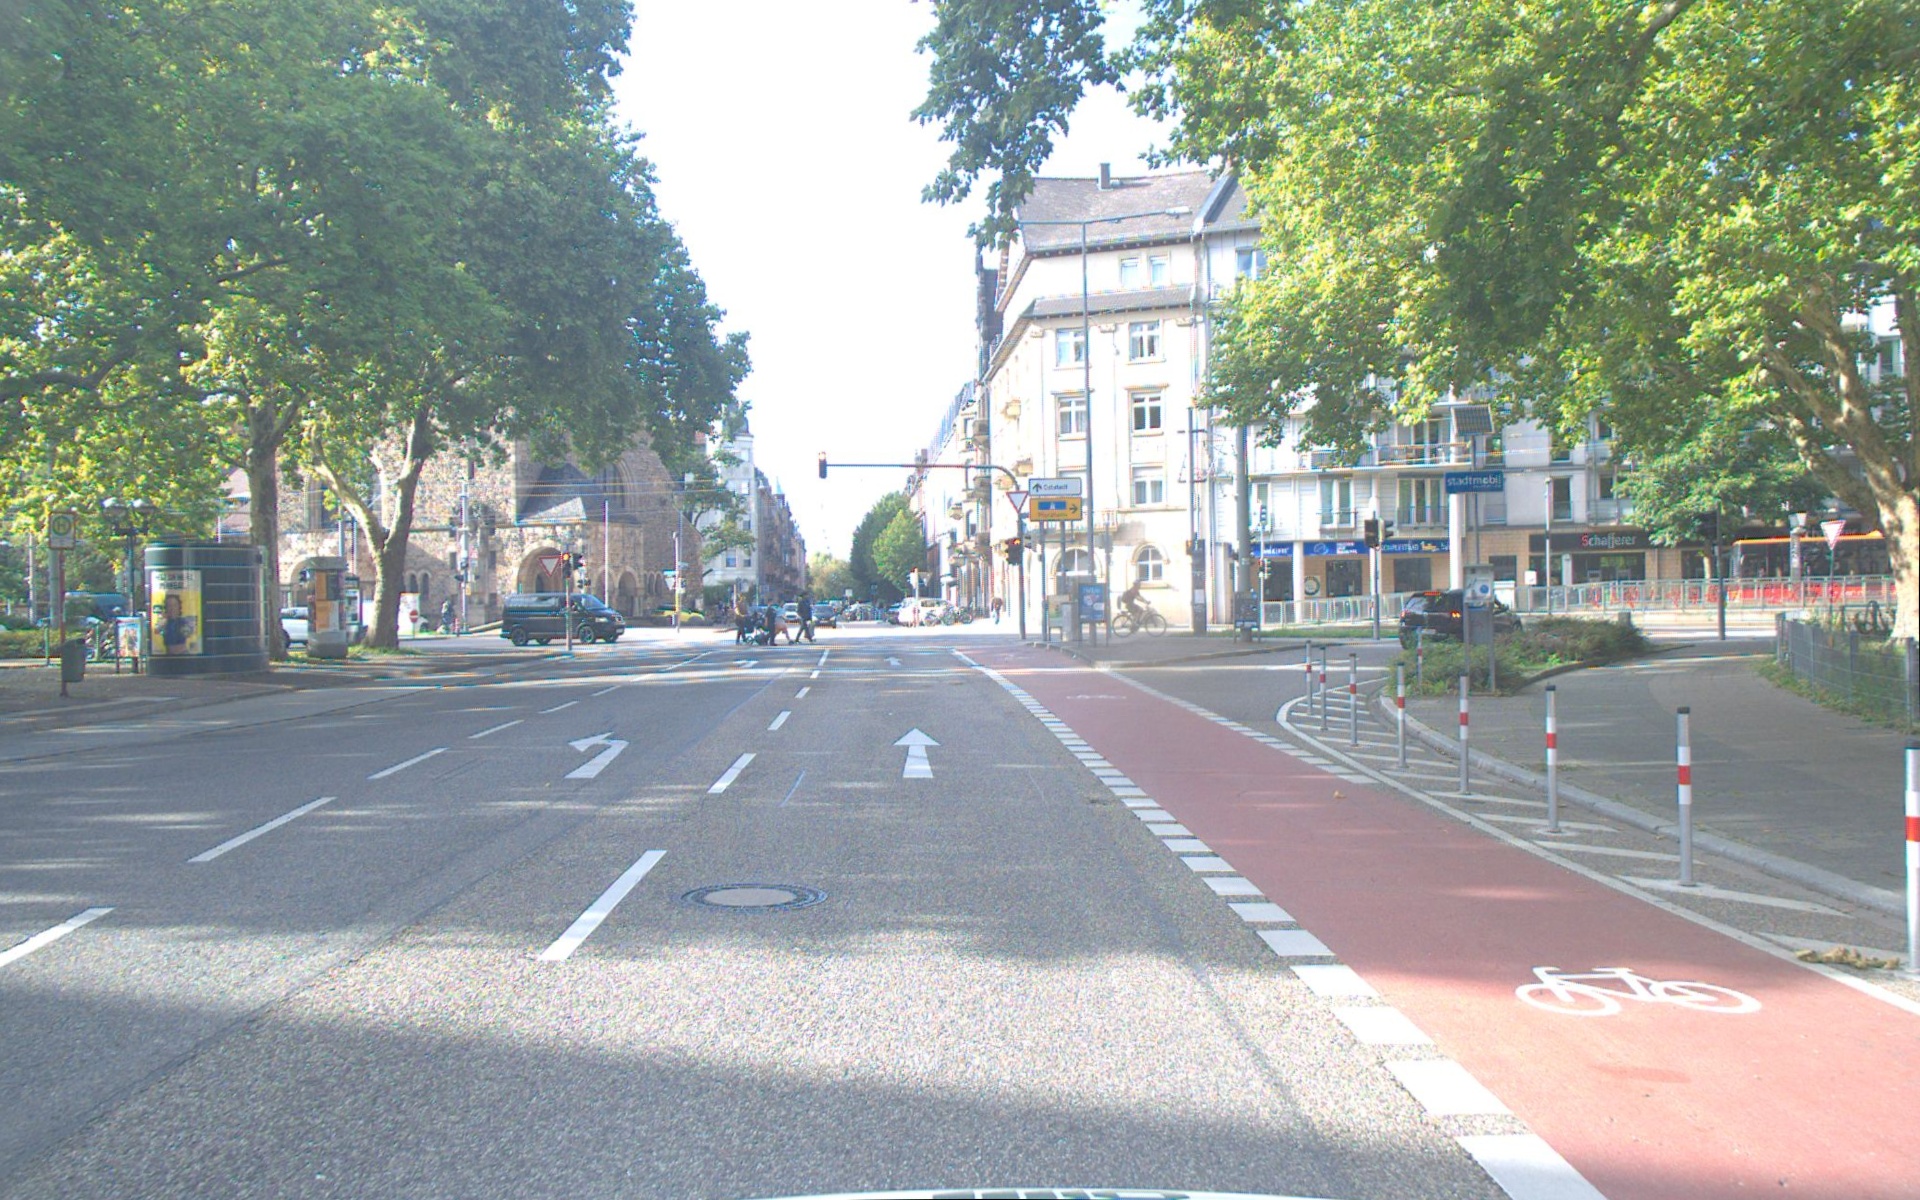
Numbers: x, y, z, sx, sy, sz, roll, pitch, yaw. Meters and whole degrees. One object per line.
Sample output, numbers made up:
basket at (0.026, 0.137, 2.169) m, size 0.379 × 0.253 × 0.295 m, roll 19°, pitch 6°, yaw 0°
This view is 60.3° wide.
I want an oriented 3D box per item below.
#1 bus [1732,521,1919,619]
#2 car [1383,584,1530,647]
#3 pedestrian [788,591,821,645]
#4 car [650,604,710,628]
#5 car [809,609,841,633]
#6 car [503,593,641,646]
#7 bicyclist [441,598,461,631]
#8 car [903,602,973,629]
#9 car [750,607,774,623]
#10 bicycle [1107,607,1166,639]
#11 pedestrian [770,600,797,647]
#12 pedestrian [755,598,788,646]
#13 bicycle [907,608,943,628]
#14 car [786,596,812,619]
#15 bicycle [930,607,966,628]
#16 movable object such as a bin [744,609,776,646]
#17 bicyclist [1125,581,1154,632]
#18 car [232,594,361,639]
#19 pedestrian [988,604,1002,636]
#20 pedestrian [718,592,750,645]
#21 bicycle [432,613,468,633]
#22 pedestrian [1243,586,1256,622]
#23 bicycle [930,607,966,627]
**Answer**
bus at (36.476, -1.194, 63.550) m, size 12.007 × 3.610 × 3.030 m, roll -1°, pitch 0°, yaw 20°
car at (12.023, 0.345, 39.929) m, size 1.728 × 1.438 × 3.971 m, roll 0°, pitch 0°, yaw 45°
pedestrian at (-4.946, 0.562, 52.527) m, size 0.764 × 1.691 × 0.779 m, roll -1°, pitch 0°, yaw 19°
car at (-20.310, 1.149, 120.119) m, size 3.967 × 1.624 × 1.840 m, roll -2°, pitch 0°, yaw -43°
car at (-8.507, 1.302, 104.455) m, size 1.911 × 1.396 × 3.997 m, roll -1°, pitch 0°, yaw -4°
car at (-14.842, 0.731, 63.350) m, size 4.741 × 1.903 × 2.033 m, roll -1°, pitch 0°, yaw 16°
bicyclist at (-26.223, 0.728, 85.209) m, size 0.709 × 1.691 × 0.719 m, roll -1°, pitch 0°, yaw 26°
car at (-1.312, 0.885, 97.117) m, size 3.911 × 1.445 × 1.997 m, roll -1°, pitch 0°, yaw -7°
car at (-15.529, 1.172, 129.780) m, size 1.519 × 1.251 × 3.587 m, roll 0°, pitch 0°, yaw -1°
bicycle at (5.667, 0.746, 53.144) m, size 1.792 × 0.972 × 0.573 m, roll -1°, pitch 0°, yaw 23°
pedestrian at (-5.510, 0.724, 51.689) m, size 0.641 × 1.457 × 0.499 m, roll -1°, pitch 0°, yaw 19°
pedestrian at (-5.821, 0.684, 51.123) m, size 0.764 × 1.457 × 0.731 m, roll -1°, pitch 0°, yaw 19°
bicycle at (-1.999, 1.009, 94.645) m, size 1.988 × 1.101 × 0.618 m, roll -1°, pitch 0°, yaw -14°
car at (-12.876, 0.580, 132.380) m, size 1.911 × 1.780 × 3.997 m, roll -1°, pitch 0°, yaw -4°
bicycle at (-0.714, 1.008, 95.474) m, size 1.988 × 1.101 × 0.628 m, roll -1°, pitch 0°, yaw -14°
movable object such as a bin at (-6.297, 0.858, 52.039) m, size 0.820 × 1.143 × 0.575 m, roll -1°, pitch 0°, yaw 20°
bicyclist at (5.779, 0.203, 53.142) m, size 0.763 × 1.607 × 0.625 m, roll -1°, pitch 0°, yaw 22°
car at (-27.132, 0.673, 67.701) m, size 4.606 × 1.712 × 2.018 m, roll -1°, pitch 0°, yaw 16°
pedestrian at (1.839, 1.041, 86.316) m, size 0.550 × 1.652 × 0.601 m, roll -1°, pitch 0°, yaw 18°
pedestrian at (-7.151, 0.589, 52.338) m, size 0.798 × 1.657 × 0.605 m, roll -1°, pitch 0°, yaw 21°
bicycle at (-26.226, 1.171, 85.084) m, size 0.624 × 0.997 × 1.922 m, roll -1°, pitch 0°, yaw 28°
pedestrian at (13.894, 0.199, 79.301) m, size 0.485 × 1.744 × 0.527 m, roll 1°, pitch -1°, yaw 21°
bicycle at (-0.678, 0.956, 94.783) m, size 1.988 × 1.101 × 0.618 m, roll -1°, pitch 0°, yaw -14°
